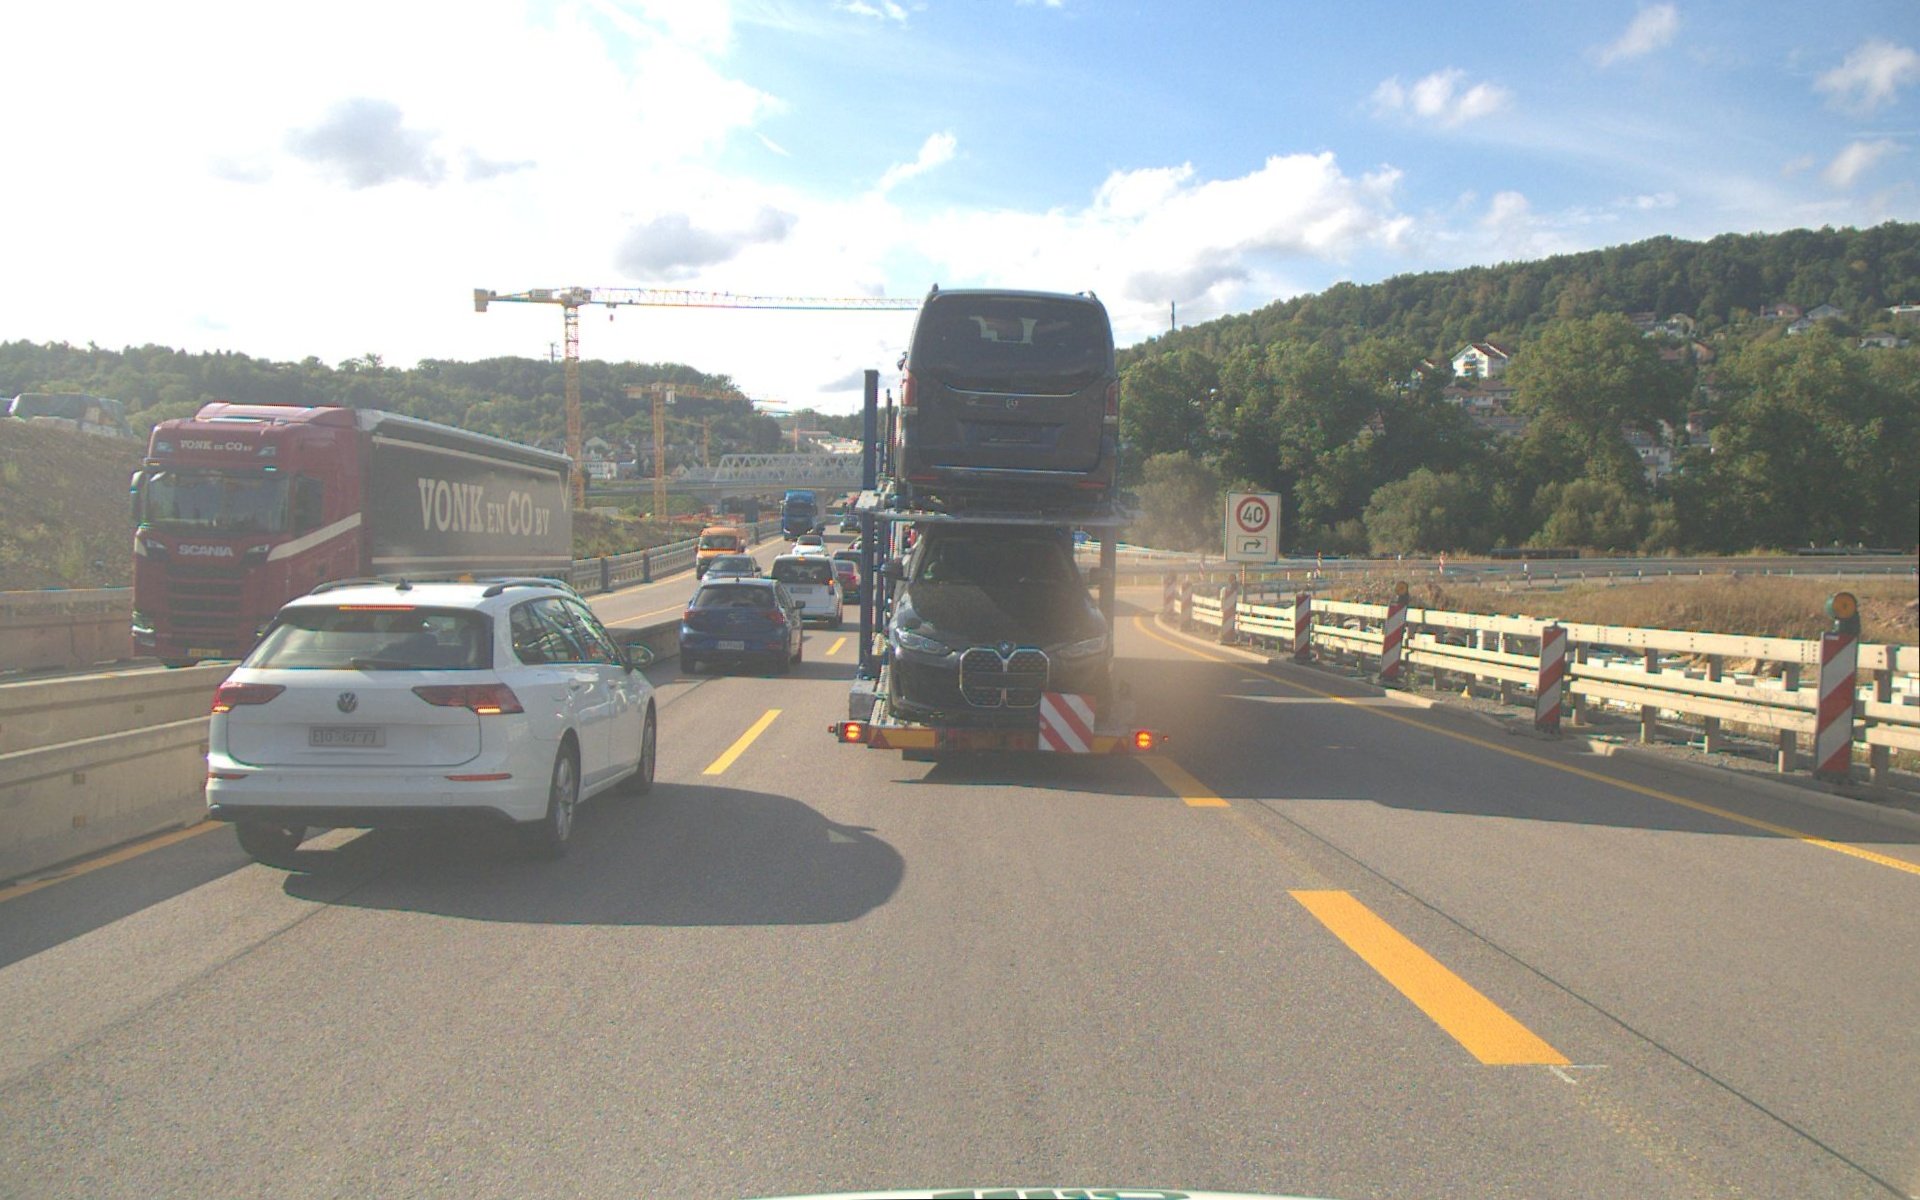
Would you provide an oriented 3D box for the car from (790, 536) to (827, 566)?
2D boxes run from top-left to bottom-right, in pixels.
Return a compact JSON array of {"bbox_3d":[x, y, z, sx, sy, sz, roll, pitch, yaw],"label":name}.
[{"bbox_3d":[-8.973,-2.885,98.216,1.954,1.713,3.998,1,1,-3],"label":"car"}]

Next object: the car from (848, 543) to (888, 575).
[{"bbox_3d":[-5.053,-2.283,91.401,1.953,1.695,4.001,1,2,0],"label":"car"}]

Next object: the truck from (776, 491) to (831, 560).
[{"bbox_3d":[-12.965,-6.127,138.564,2.763,4.872,13.057,1,-1,2],"label":"truck"}]

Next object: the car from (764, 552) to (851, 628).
[{"bbox_3d":[-3.862,-0.208,42.505,1.785,1.824,4.000,1,-1,0],"label":"car"}]

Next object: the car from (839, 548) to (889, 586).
[{"bbox_3d":[-4.191,-1.428,72.744,1.953,1.579,4.000,1,0,0],"label":"car"}]

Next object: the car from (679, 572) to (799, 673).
[{"bbox_3d":[-3.484,0.308,26.690,1.688,1.446,3.997,1,1,-5],"label":"car"}]

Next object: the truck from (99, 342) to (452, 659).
[{"bbox_3d":[-10.816,-1.396,26.960,2.854,4.464,6.286,2,-1,1],"label":"truck"}]

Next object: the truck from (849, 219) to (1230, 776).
[{"bbox_3d":[0.183,-0.815,21.717,2.698,4.023,18.880,2,0,-3],"label":"truck"}]

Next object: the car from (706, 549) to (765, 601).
[{"bbox_3d":[-7.634,-0.839,56.542,1.808,1.677,4.232,1,0,-5],"label":"car"}]

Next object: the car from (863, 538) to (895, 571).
[{"bbox_3d":[-5.560,-3.124,113.640,1.953,2.049,3.999,1,-1,-1],"label":"car"}]

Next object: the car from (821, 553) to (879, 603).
[{"bbox_3d":[-3.885,-0.750,58.333,1.954,1.584,4.397,1,-1,-4],"label":"car"}]

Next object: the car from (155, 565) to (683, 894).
[{"bbox_3d":[-2.913,0.566,10.012,1.734,1.517,4.516,1,1,-1],"label":"car"}]

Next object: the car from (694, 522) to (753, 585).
[{"bbox_3d":[-11.411,-2.253,80.257,1.953,2.929,6.065,1,2,0],"label":"car"}]

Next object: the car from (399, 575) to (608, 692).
[{"bbox_3d":[-7.133,0.475,26.338,1.805,1.677,4.507,1,0,4],"label":"car"}]

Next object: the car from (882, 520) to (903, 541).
[{"bbox_3d":[-6.106,-6.240,149.487,1.808,1.677,4.502,1,0,-3],"label":"car"}]

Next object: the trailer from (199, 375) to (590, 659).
[{"bbox_3d":[-10.715,-1.357,33.727,2.915,4.500,13.817,2,0,1],"label":"trailer"}]
